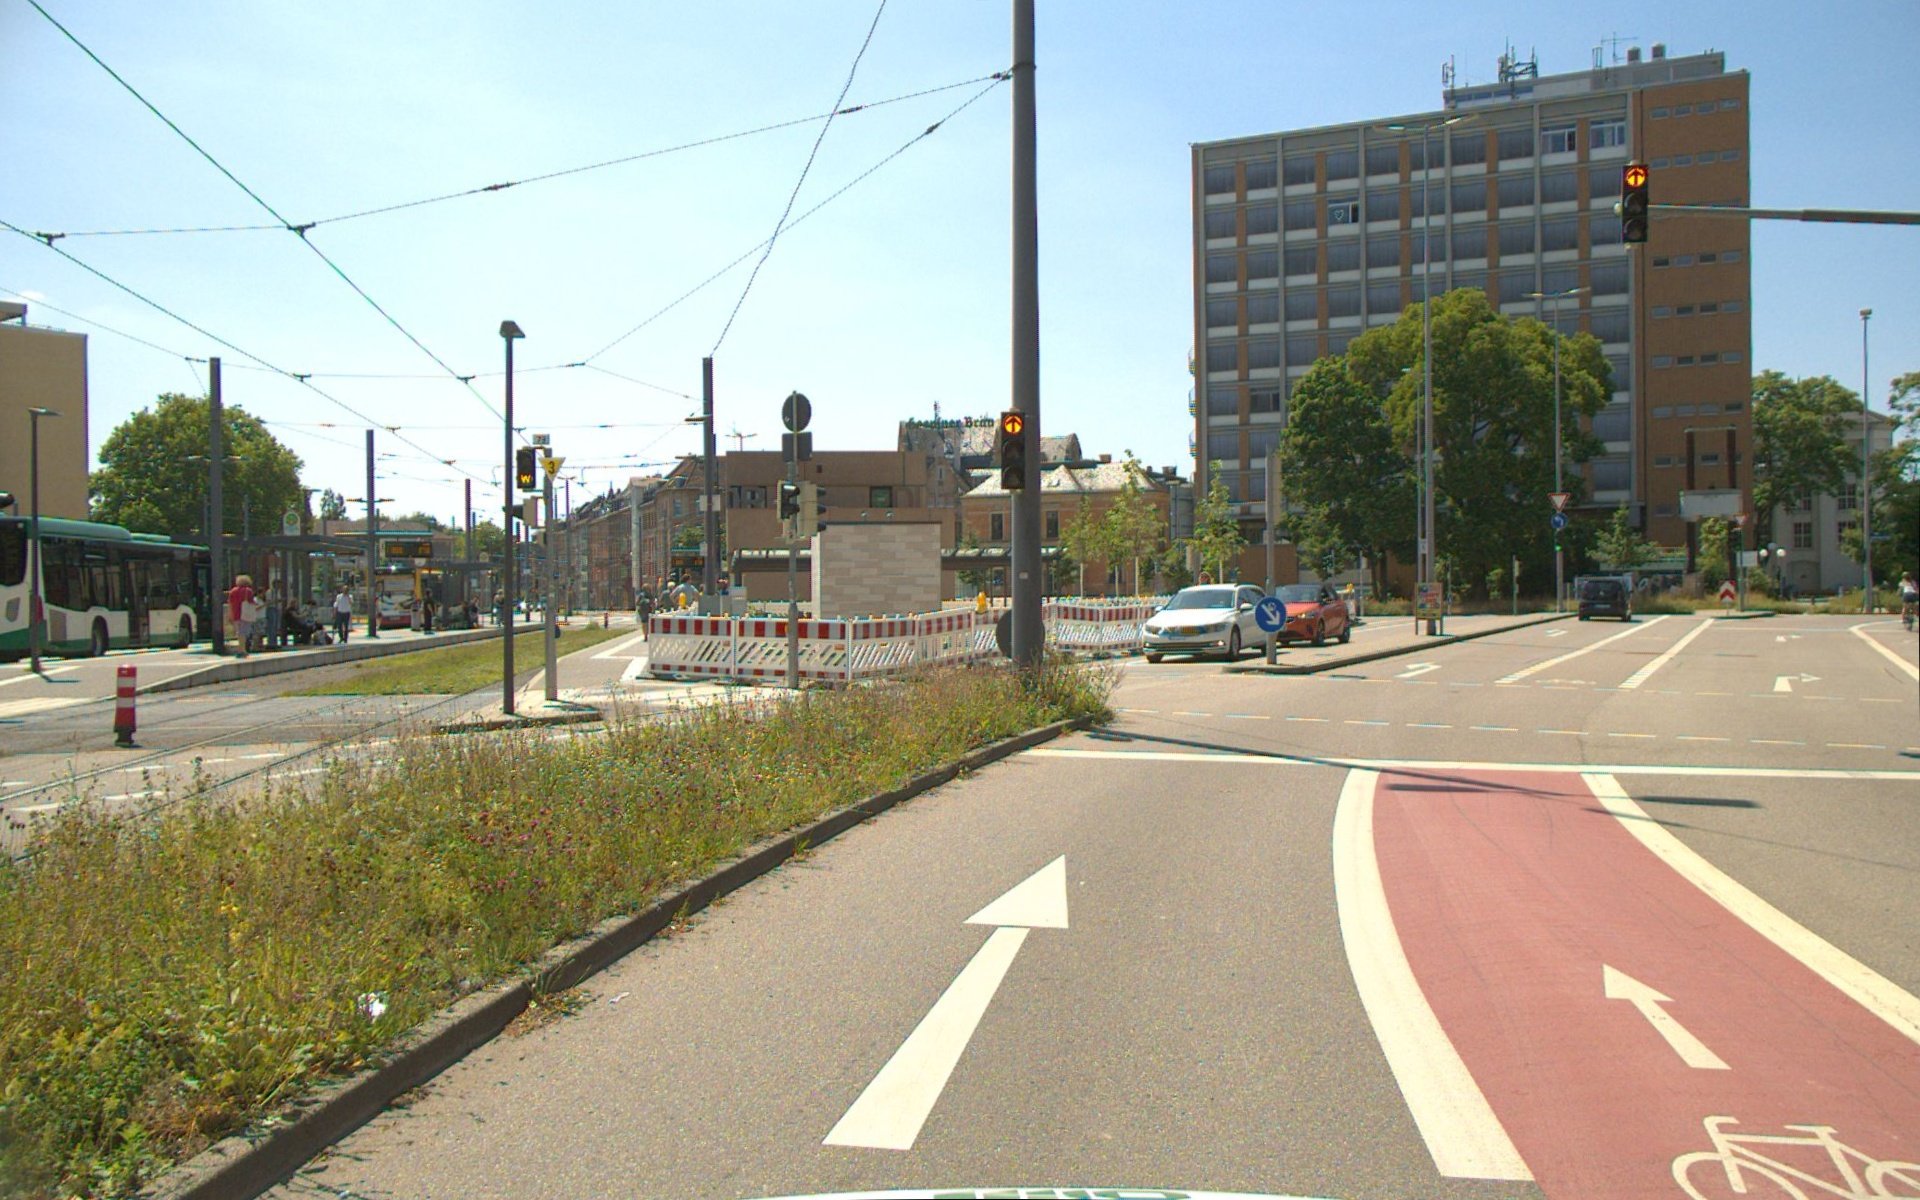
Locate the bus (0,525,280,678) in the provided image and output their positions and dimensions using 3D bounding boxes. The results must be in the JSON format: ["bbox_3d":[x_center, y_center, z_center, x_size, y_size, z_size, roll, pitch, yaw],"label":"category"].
[{"bbox_3d":[-21.801,0.025,43.266,2.953,3.213,17.468,-1,0,-7],"label":"bus"}]

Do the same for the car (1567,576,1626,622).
[{"bbox_3d":[22.470,-0.022,58.481,1.653,1.553,3.692,-1,0,17],"label":"car"}]

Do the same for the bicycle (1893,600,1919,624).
[{"bbox_3d":[28.110,0.355,49.159,0.369,0.657,1.645,-1,0,19],"label":"bicycle"}]

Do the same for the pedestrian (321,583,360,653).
[{"bbox_3d":[-19.316,0.563,51.571,0.881,2.133,0.831,-1,0,-4],"label":"pedestrian"}]

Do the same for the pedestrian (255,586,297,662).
[{"bbox_3d":[-17.312,0.592,41.873,0.897,1.884,0.654,-1,0,-18],"label":"pedestrian"}]

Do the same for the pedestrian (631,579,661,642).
[{"bbox_3d":[-8.766,0.284,46.199,0.715,1.736,0.739,0,-1,-20],"label":"pedestrian"}]

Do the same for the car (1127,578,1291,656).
[{"bbox_3d":[5.138,0.337,33.646,1.954,1.463,4.701,-1,0,26],"label":"car"}]

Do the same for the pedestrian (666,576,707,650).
[{"bbox_3d":[-7.082,0.331,42.873,0.717,1.897,0.763,-1,-1,41],"label":"pedestrian"}]

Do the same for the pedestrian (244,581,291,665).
[{"bbox_3d":[-16.988,0.558,40.594,0.927,2.025,1.023,-1,0,-18],"label":"pedestrian"}]

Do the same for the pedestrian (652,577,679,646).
[{"bbox_3d":[-8.471,0.329,47.556,0.706,1.957,1.071,0,-1,-13],"label":"pedestrian"}]

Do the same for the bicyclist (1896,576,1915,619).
[{"bbox_3d":[28.113,-0.076,49.178,0.344,1.249,0.564,-1,0,18],"label":"bicyclist"}]

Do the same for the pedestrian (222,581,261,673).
[{"bbox_3d":[-15.293,0.568,35.233,0.662,1.943,0.637,-1,0,-18],"label":"pedestrian"}]

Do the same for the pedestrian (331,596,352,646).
[{"bbox_3d":[-26.959,0.896,72.086,0.698,2.148,0.649,-1,0,-33],"label":"pedestrian"}]

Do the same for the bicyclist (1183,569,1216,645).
[{"bbox_3d":[5.672,0.157,39.148,0.557,1.748,0.506,3,3,33],"label":"bicyclist"}]

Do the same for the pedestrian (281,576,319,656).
[{"bbox_3d":[-17.929,0.435,44.972,0.886,2.133,0.827,-1,0,-20],"label":"pedestrian"}]

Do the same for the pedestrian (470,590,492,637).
[{"bbox_3d":[-21.836,0.622,75.458,0.813,2.133,0.900,-1,0,-9],"label":"pedestrian"}]

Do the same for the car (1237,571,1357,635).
[{"bbox_3d":[8.138,0.069,39.667,1.698,1.450,4.118,-1,0,28],"label":"car"}]

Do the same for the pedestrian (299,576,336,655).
[{"bbox_3d":[-17.679,0.433,45.513,0.886,2.133,0.827,-1,0,-20],"label":"pedestrian"}]

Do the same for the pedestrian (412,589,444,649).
[{"bbox_3d":[-19.261,0.678,59.873,0.881,2.133,0.831,-1,0,-4],"label":"pedestrian"}]

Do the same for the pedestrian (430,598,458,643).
[{"bbox_3d":[-22.052,0.881,70.681,0.962,1.867,0.768,-1,0,-33],"label":"pedestrian"}]

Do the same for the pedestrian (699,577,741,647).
[{"bbox_3d":[-6.431,0.318,44.352,0.964,1.864,0.629,-1,0,-23],"label":"pedestrian"}]
